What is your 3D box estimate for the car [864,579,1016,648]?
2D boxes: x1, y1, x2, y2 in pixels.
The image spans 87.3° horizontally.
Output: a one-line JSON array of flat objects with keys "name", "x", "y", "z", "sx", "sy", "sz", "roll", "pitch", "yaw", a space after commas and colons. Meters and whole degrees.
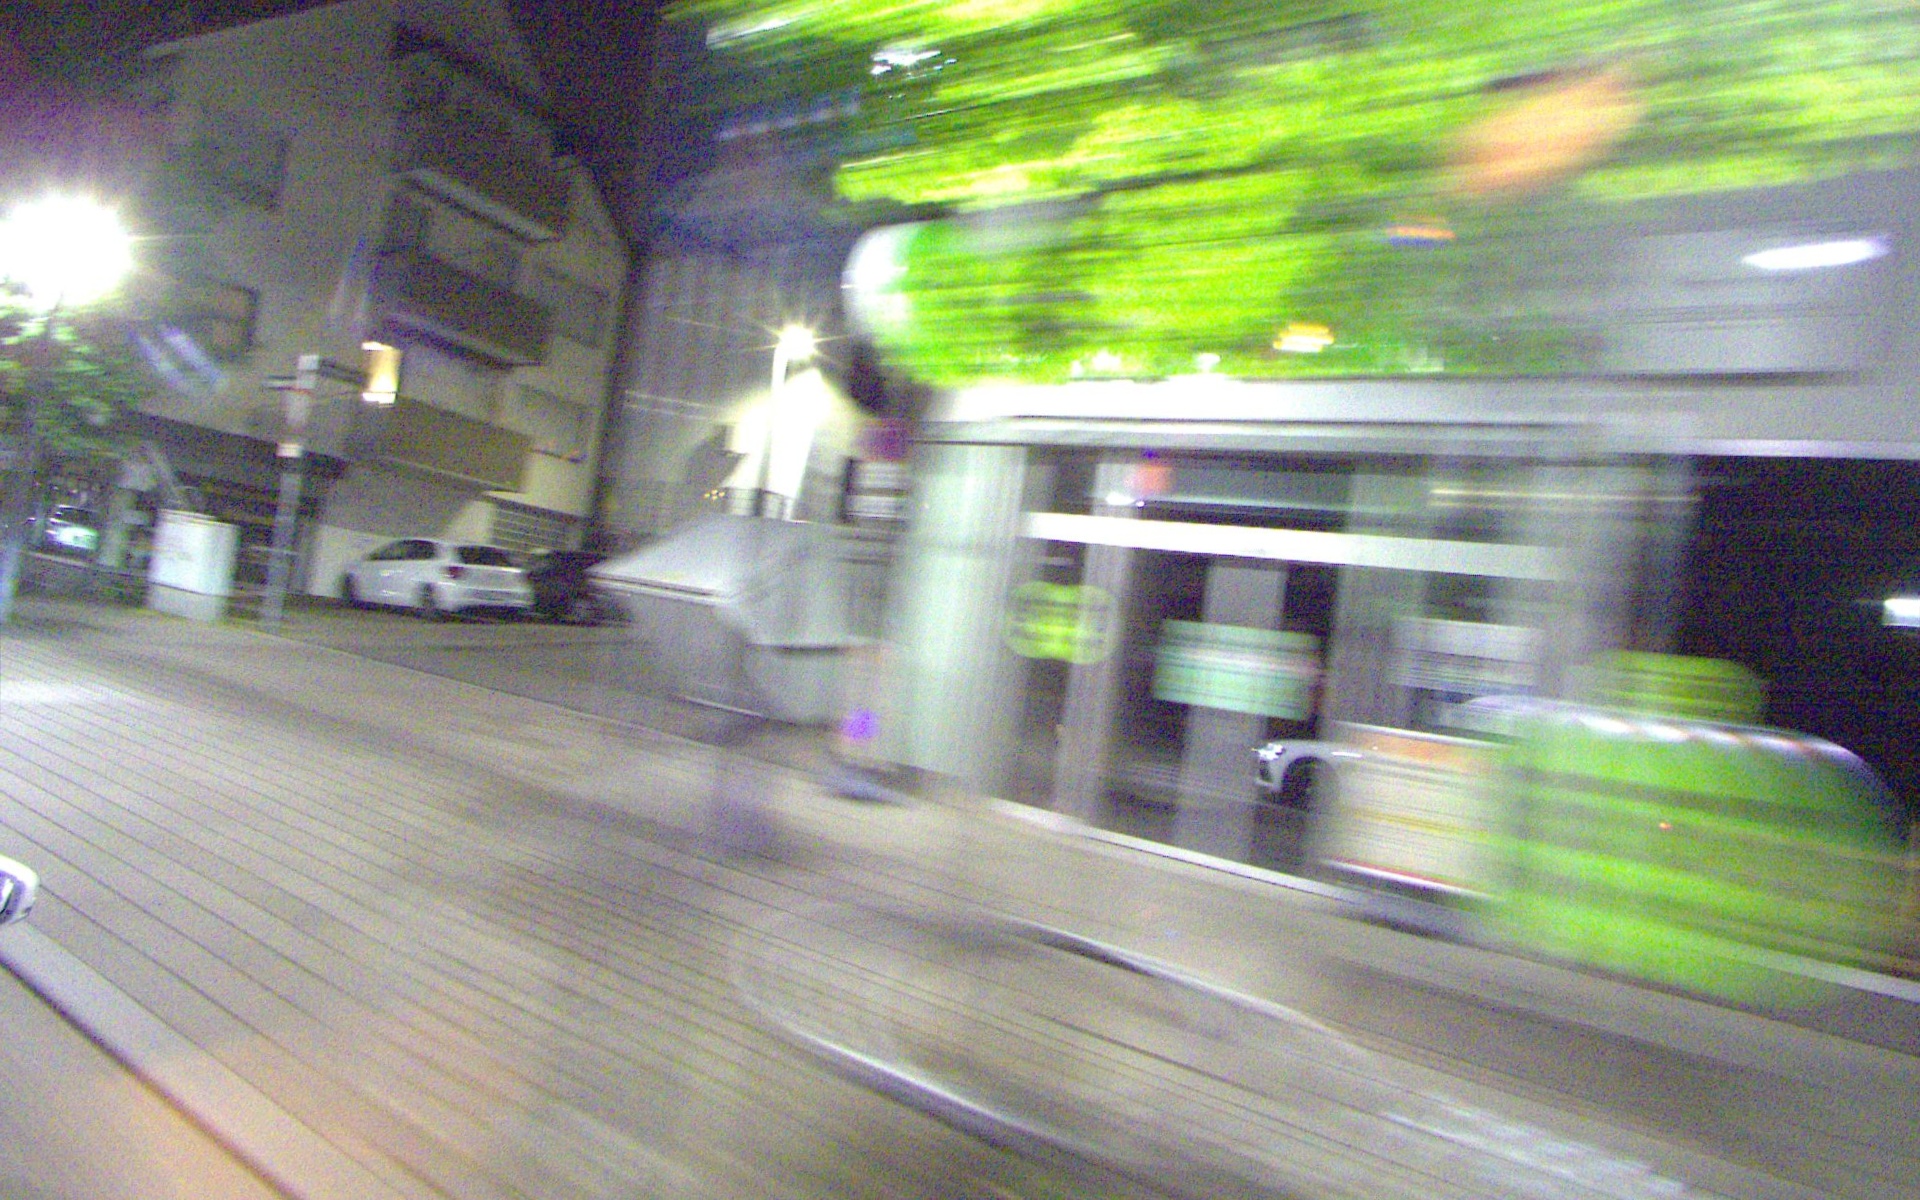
[{"name": "car", "x": -0.378, "y": 0.287, "z": 23.823, "sx": 1.698, "sy": 1.359, "sz": 4.044, "roll": 6, "pitch": 3, "yaw": 29}]

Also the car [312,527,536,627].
[{"name": "car", "x": -9.974, "y": -0.444, "z": 18.660, "sx": 3.989, "sy": 1.479, "sz": 1.806, "roll": 6, "pitch": 1, "yaw": 30}]

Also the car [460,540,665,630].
[{"name": "car", "x": -8.230, "y": -0.319, "z": 20.752, "sx": 3.989, "sy": 1.479, "sz": 1.806, "roll": 6, "pitch": 1, "yaw": 30}]
